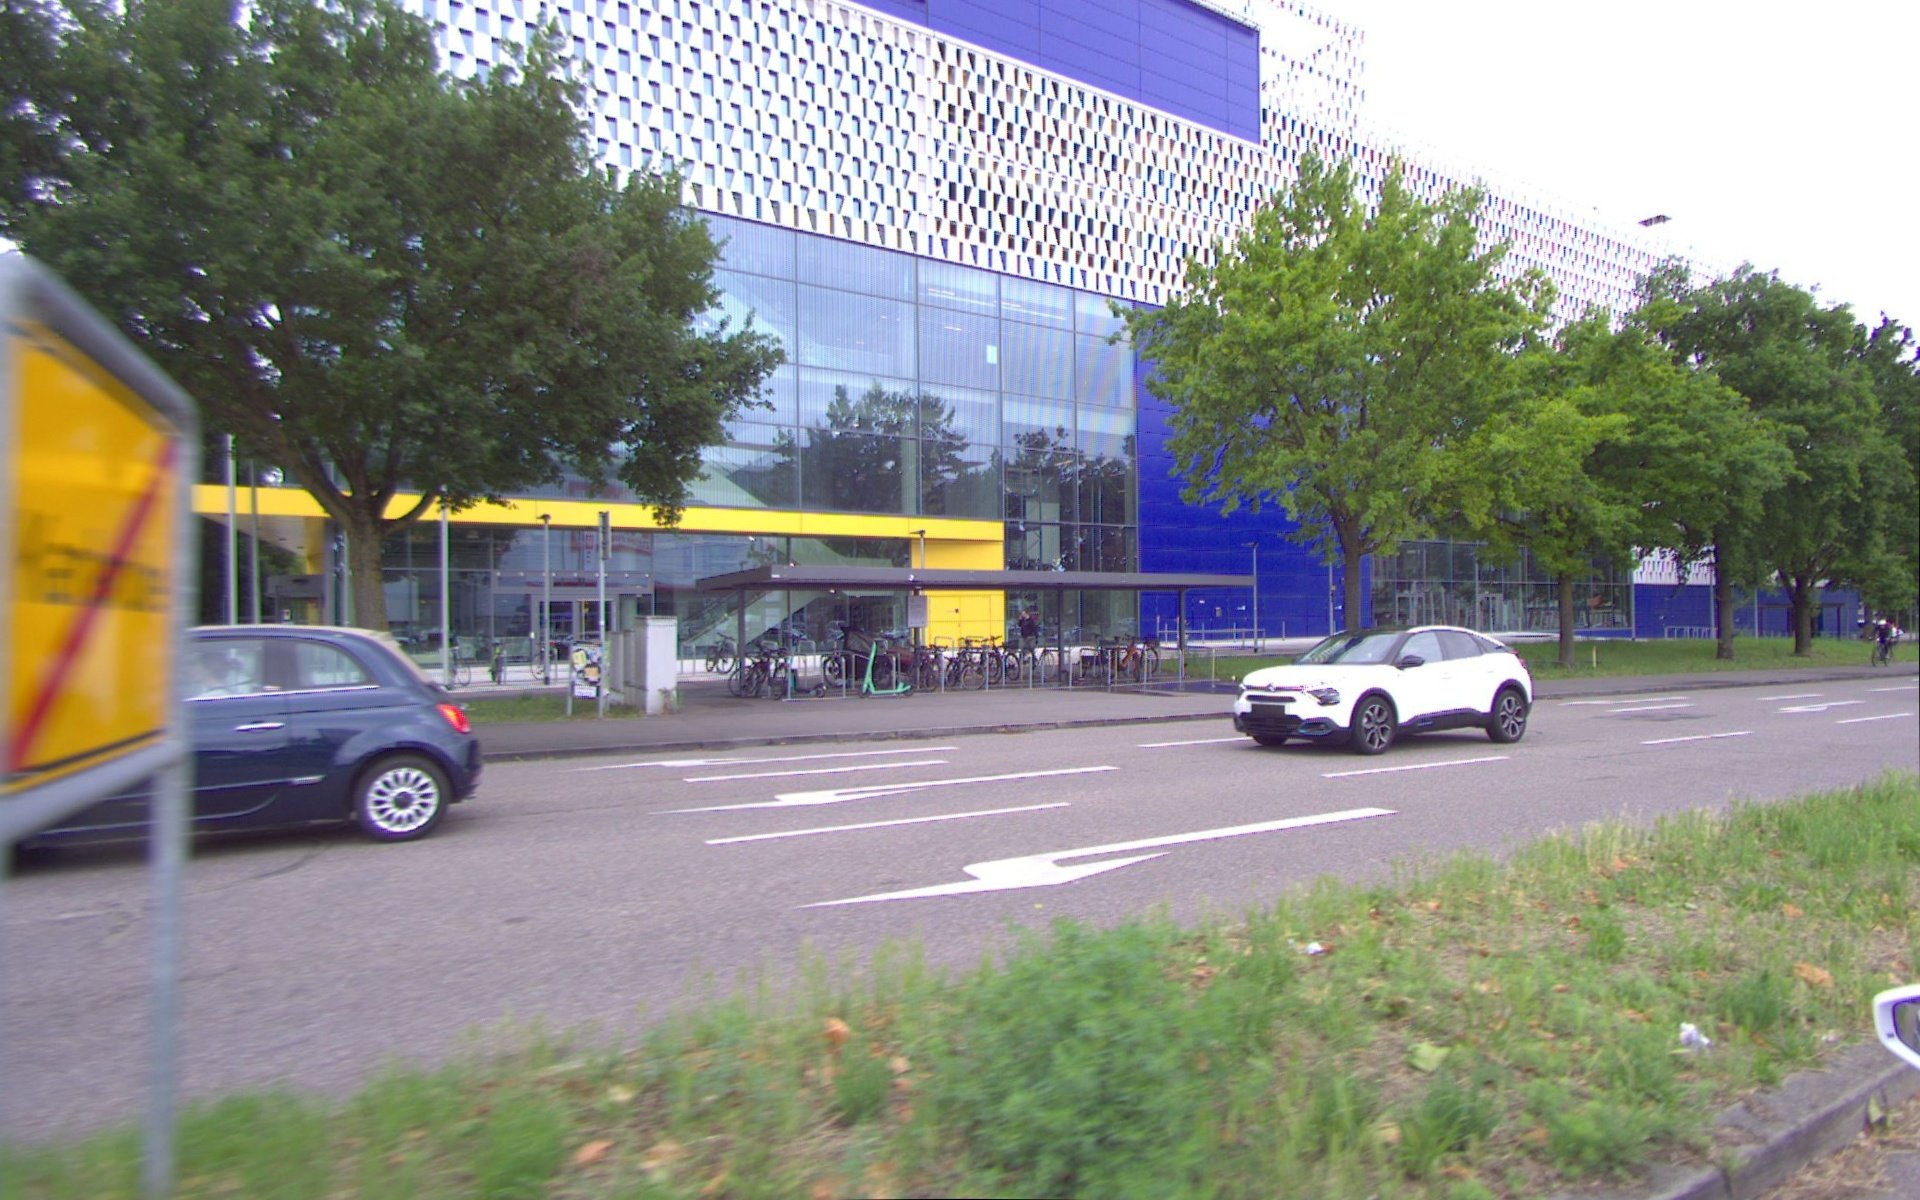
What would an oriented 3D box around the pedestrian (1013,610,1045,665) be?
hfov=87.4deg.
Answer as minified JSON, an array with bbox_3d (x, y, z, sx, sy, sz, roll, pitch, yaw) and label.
[{"bbox_3d":[2.249,1.208,32.660,0.799,1.769,0.674,0,0,-30],"label":"pedestrian"}]

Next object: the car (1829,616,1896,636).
[{"bbox_3d":[98.914,2.886,110.128,1.860,1.990,5.103,-4,0,-33],"label":"car"}]

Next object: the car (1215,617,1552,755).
[{"bbox_3d":[5.550,1.058,13.110,4.132,1.538,1.923,1,-4,-29],"label":"car"}]

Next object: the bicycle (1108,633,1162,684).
[{"bbox_3d":[4.509,1.495,26.037,0.584,1.172,2.016,1,1,-15],"label":"bicycle"}]

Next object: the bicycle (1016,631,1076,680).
[{"bbox_3d":[2.277,1.471,26.833,0.586,1.172,2.006,0,1,-29],"label":"bicycle"}]

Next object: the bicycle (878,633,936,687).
[{"bbox_3d":[-1.312,1.437,24.467,0.586,1.172,2.006,0,1,-29],"label":"bicycle"}]

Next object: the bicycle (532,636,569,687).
[{"bbox_3d":[-10.601,1.559,25.963,0.587,1.172,2.005,0,0,-31],"label":"bicycle"}]

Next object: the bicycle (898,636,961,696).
[{"bbox_3d":[-0.697,1.443,22.396,0.586,1.172,1.885,0,1,-29],"label":"bicycle"}]

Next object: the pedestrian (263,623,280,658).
[{"bbox_3d":[-41.416,2.429,60.385,0.733,2.040,0.663,-2,0,-31],"label":"pedestrian"}]

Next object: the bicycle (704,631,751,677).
[{"bbox_3d":[-6.594,1.510,28.446,0.588,1.172,2.002,0,0,-35],"label":"bicycle"}]

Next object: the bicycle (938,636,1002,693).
[{"bbox_3d":[0.207,1.443,22.966,0.586,1.172,1.885,0,1,-29],"label":"bicycle"}]

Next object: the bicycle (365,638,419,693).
[{"bbox_3d":[-13.629,1.540,24.085,1.994,1.172,0.590,1,1,45],"label":"bicycle"}]

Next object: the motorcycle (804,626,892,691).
[{"bbox_3d":[-2.675,1.345,23.754,0.794,1.373,2.469,0,1,-41],"label":"motorcycle"}]

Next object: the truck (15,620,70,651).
[{"bbox_3d":[-117.098,4.573,128.391,3.225,3.711,9.813,2,-3,-31],"label":"truck"}]

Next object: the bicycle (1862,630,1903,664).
[{"bbox_3d":[36.433,1.827,39.675,2.032,1.267,0.639,0,1,-31],"label":"bicycle"}]

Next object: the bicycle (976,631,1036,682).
[{"bbox_3d":[1.178,1.447,26.164,0.586,1.172,2.006,0,1,-29],"label":"bicycle"}]

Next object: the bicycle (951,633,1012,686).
[{"bbox_3d":[0.512,1.454,25.115,0.586,1.172,2.006,0,1,-29],"label":"bicycle"}]

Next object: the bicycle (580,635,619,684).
[{"bbox_3d":[-9.546,1.553,26.571,0.587,1.172,2.005,0,0,-31],"label":"bicycle"}]

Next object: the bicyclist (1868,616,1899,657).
[{"bbox_3d":[36.460,1.438,39.663,0.988,1.598,0.637,0,1,-30],"label":"bicyclist"}]

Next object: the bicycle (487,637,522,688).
[{"bbox_3d":[-11.547,1.554,25.416,0.587,1.172,2.005,0,0,-31],"label":"bicycle"}]

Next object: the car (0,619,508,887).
[{"bbox_3d":[-5.299,0.919,6.755,3.991,1.517,1.595,1,-3,-31],"label":"car"}]

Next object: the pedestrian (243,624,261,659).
[{"bbox_3d":[-42.191,2.454,59.871,0.733,2.040,0.663,-2,0,-31],"label":"pedestrian"}]

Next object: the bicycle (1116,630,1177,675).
[{"bbox_3d":[5.284,1.472,28.596,0.586,1.137,2.008,0,1,-27],"label":"bicycle"}]

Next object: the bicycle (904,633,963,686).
[{"bbox_3d":[-0.675,1.440,24.763,0.586,1.172,2.006,0,1,-29],"label":"bicycle"}]

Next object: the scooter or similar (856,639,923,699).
[{"bbox_3d":[-1.444,1.412,20.617,1.322,1.164,0.424,1,1,2],"label":"scooter or similar"}]

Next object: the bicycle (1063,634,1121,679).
[{"bbox_3d":[3.553,1.508,27.219,0.586,1.096,1.801,0,1,-29],"label":"bicycle"}]

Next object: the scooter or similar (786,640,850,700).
[{"bbox_3d":[-2.923,1.434,20.701,1.266,1.200,0.359,0,1,8],"label":"scooter or similar"}]

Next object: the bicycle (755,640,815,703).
[{"bbox_3d":[-3.579,1.428,20.435,0.586,1.172,2.007,0,-1,-29],"label":"bicycle"}]

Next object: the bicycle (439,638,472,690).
[{"bbox_3d":[-12.538,1.563,24.952,0.587,1.172,2.005,0,0,-31],"label":"bicycle"}]

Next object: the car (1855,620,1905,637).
[{"bbox_3d":[102.228,3.120,111.680,1.859,1.770,3.740,-2,0,-32],"label":"car"}]

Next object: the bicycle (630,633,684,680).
[{"bbox_3d":[-8.246,1.516,27.273,0.589,1.172,1.997,0,1,-42],"label":"bicycle"}]

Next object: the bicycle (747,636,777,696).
[{"bbox_3d":[-4.419,1.444,22.366,0.583,1.172,2.017,1,1,-13],"label":"bicycle"}]
